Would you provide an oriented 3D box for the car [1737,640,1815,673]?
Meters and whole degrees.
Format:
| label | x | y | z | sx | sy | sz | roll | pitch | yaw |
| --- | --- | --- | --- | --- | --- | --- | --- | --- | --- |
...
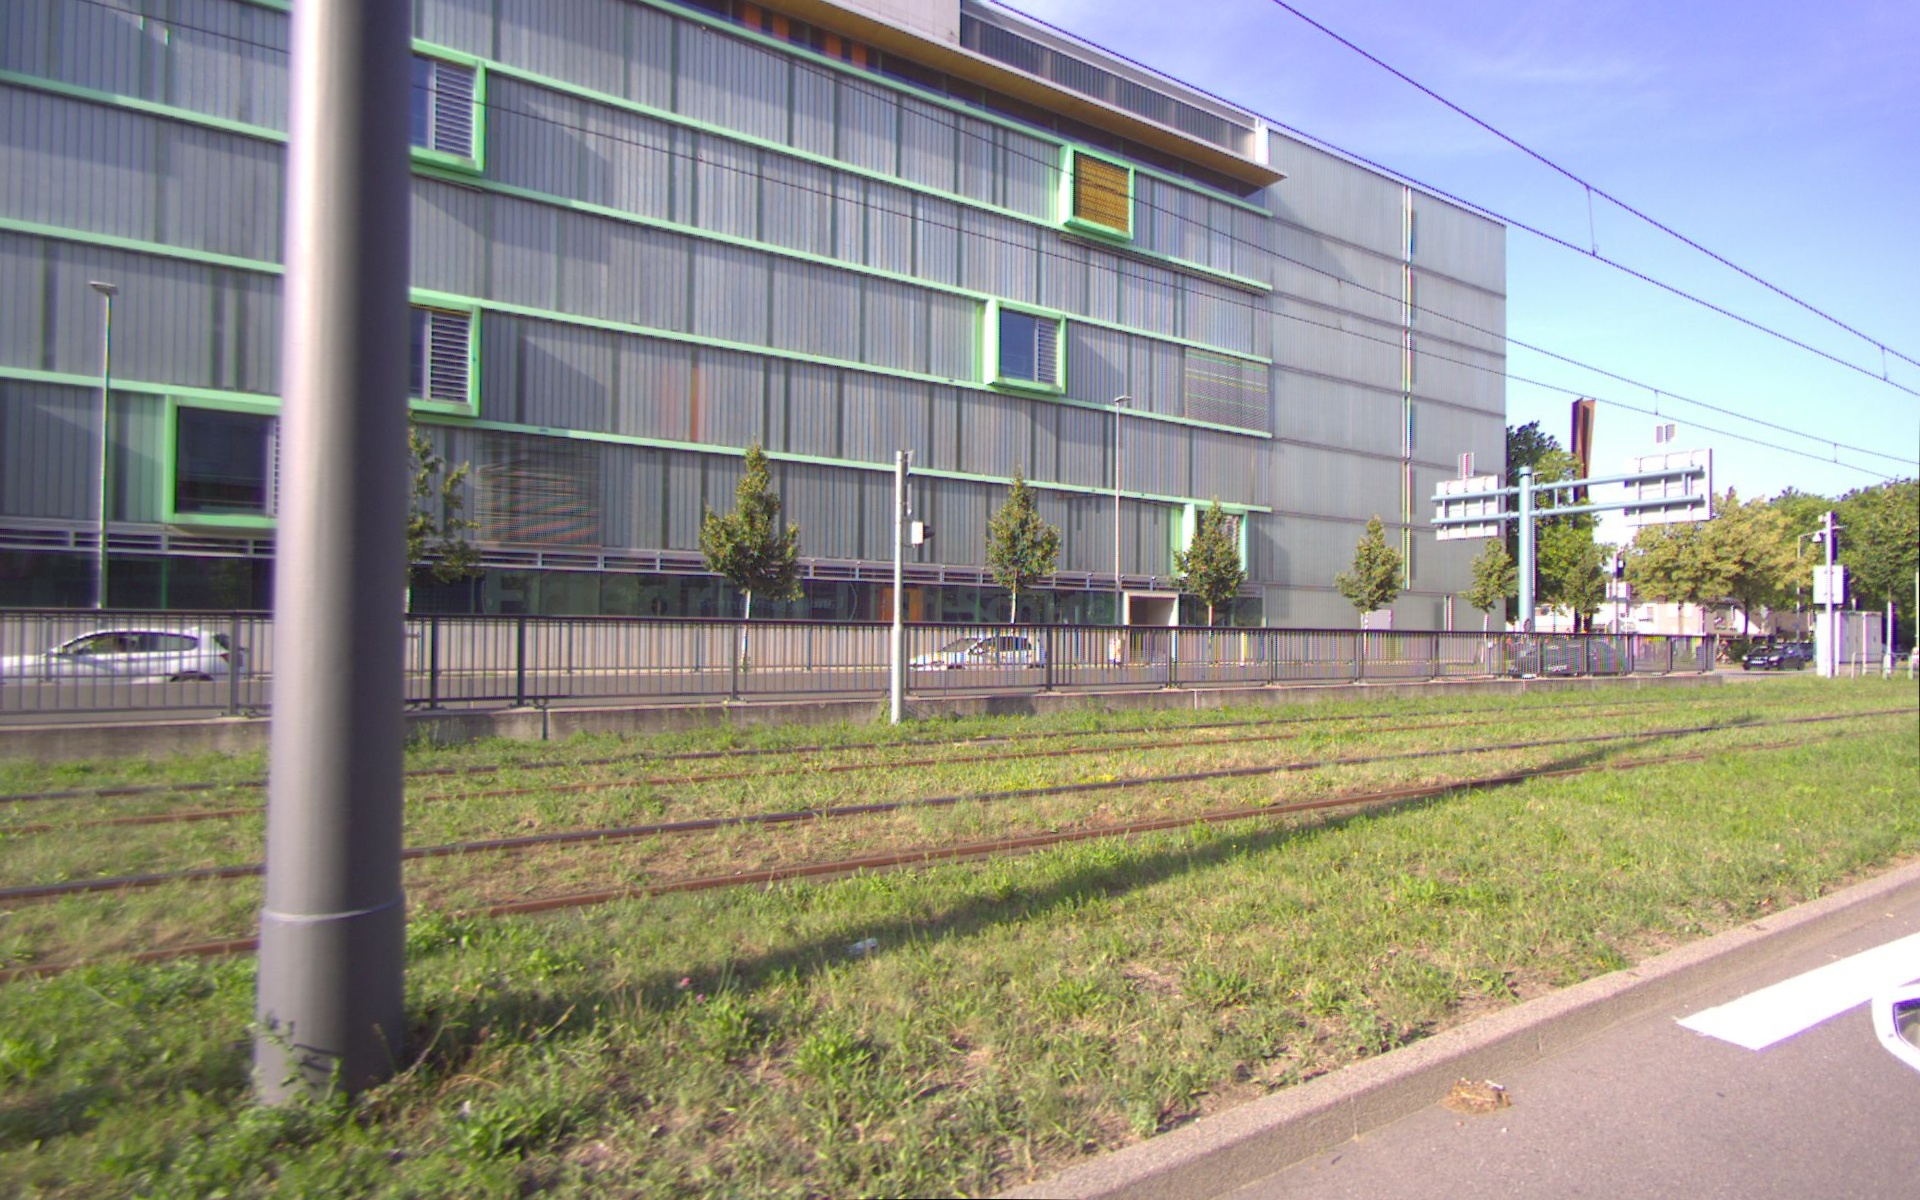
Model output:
| label | x | y | z | sx | sy | sz | roll | pitch | yaw |
| --- | --- | --- | --- | --- | --- | --- | --- | --- | --- |
| car | 45.148 | 3.114 | 55.564 | 4.675 | 1.709 | 1.982 | 2 | -2 | -33 |

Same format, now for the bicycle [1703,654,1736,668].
| label | x | y | z | sx | sy | sz | roll | pitch | yaw |
| --- | --- | --- | --- | --- | --- | --- | --- | --- | --- |
| bicycle | 62.470 | 5.035 | 82.614 | 2.167 | 1.055 | 0.697 | 0 | -2 | 36 |

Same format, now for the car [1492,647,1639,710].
| label | x | y | z | sx | sy | sz | roll | pitch | yaw |
| --- | --- | --- | --- | --- | --- | --- | --- | --- | --- |
| car | 18.381 | 2.314 | 30.439 | 4.675 | 1.709 | 1.982 | 2 | -2 | -33 |

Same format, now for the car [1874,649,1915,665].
| label | x | y | z | sx | sy | sz | roll | pitch | yaw |
| --- | --- | --- | --- | --- | --- | --- | --- | --- | --- |
| car | 96.732 | 5.858 | 103.945 | 3.949 | 1.580 | 1.875 | 2 | -2 | -27 |

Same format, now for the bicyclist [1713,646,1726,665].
| label | x | y | z | sx | sy | sz | roll | pitch | yaw |
| --- | --- | --- | --- | --- | --- | --- | --- | --- | --- |
| bicyclist | 62.491 | 4.577 | 82.619 | 0.836 | 1.512 | 0.697 | 0 | -2 | 36 |

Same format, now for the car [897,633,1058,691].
| label | x | y | z | sx | sy | sz | roll | pitch | yaw |
| --- | --- | --- | --- | --- | --- | --- | --- | --- | --- |
| car | 0.507 | 1.623 | 27.027 | 4.140 | 1.441 | 1.651 | 2 | -2 | -33 |

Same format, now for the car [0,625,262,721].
| label | x | y | z | sx | sy | sz | roll | pitch | yaw |
| --- | --- | --- | --- | --- | --- | --- | --- | --- | --- |
| car | -14.635 | 1.208 | 17.439 | 3.983 | 1.507 | 1.761 | 1 | -2 | -32 |
